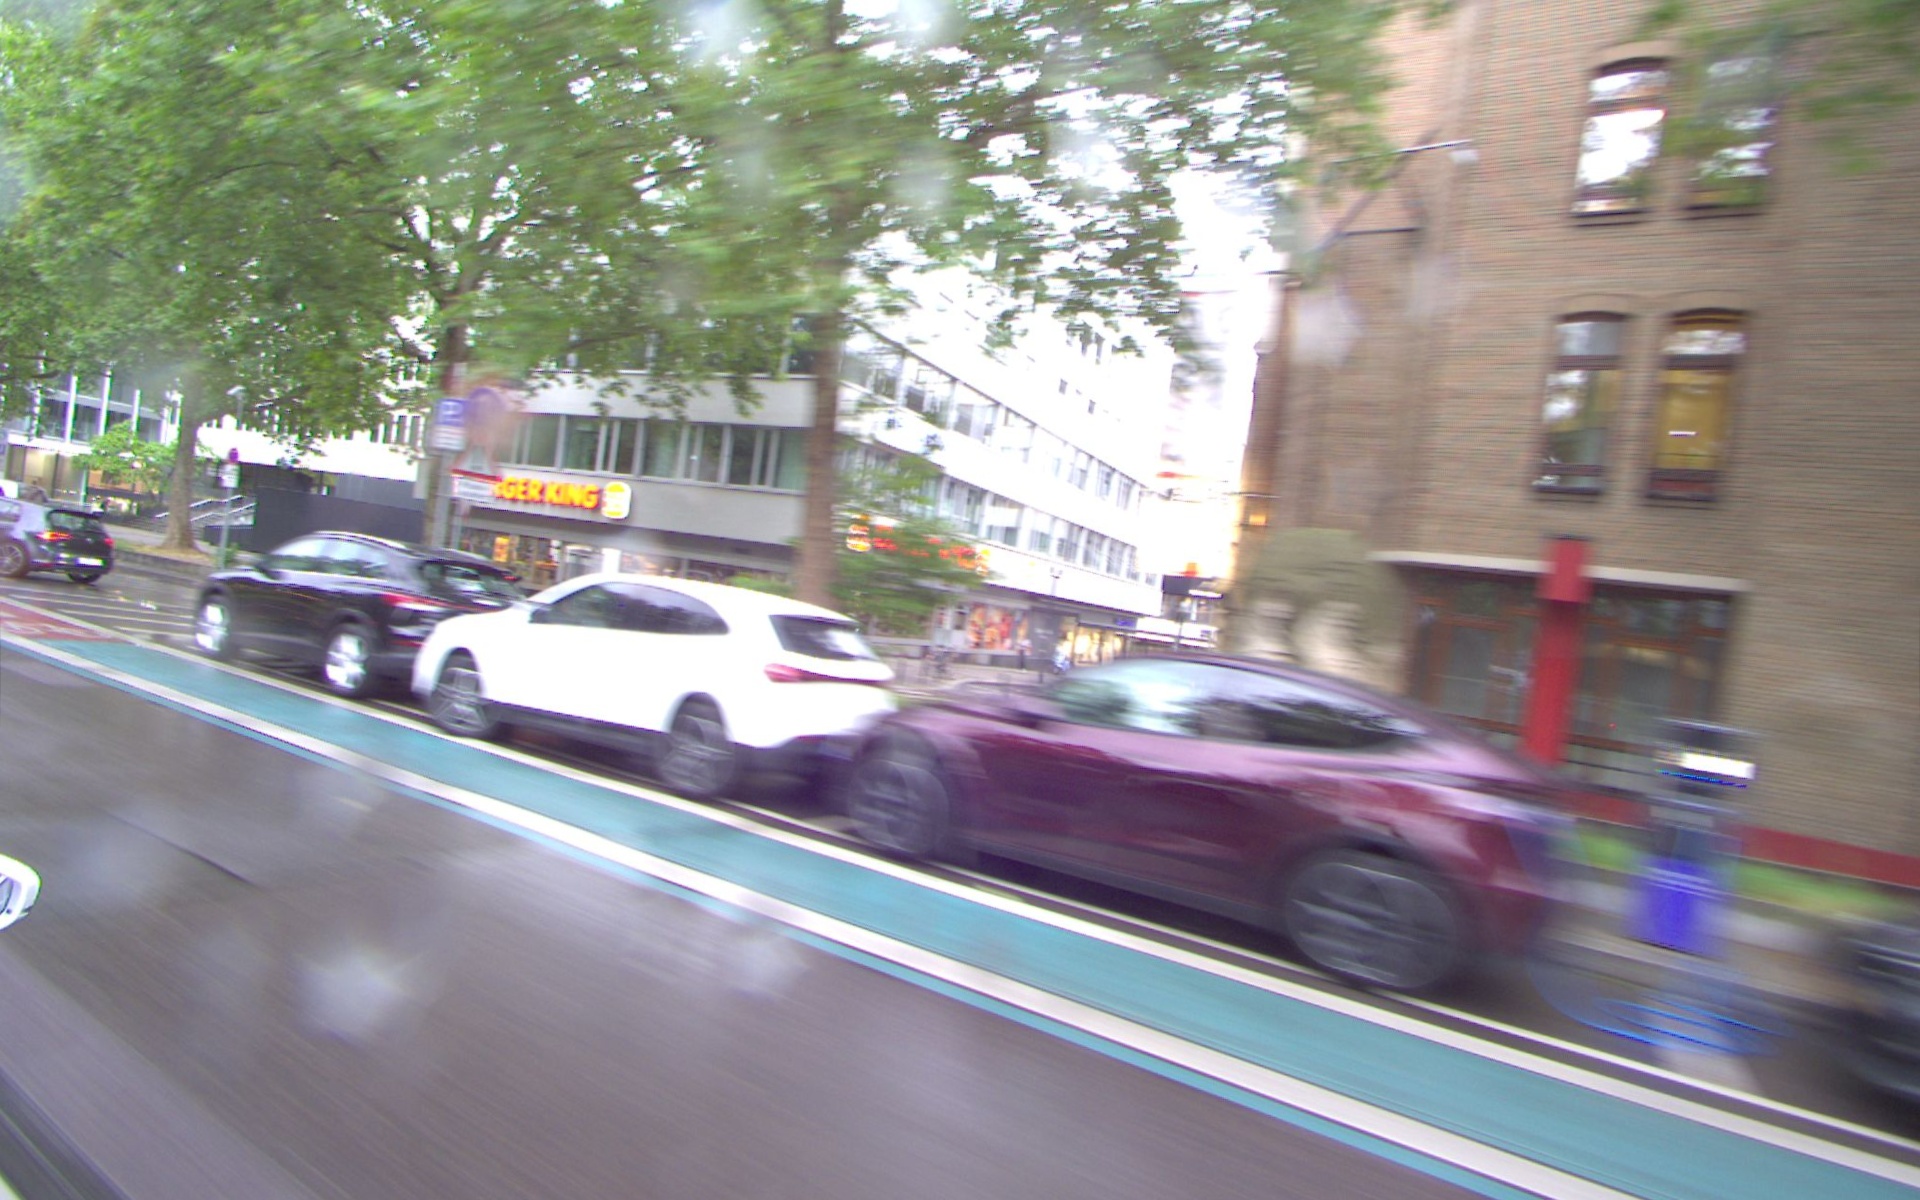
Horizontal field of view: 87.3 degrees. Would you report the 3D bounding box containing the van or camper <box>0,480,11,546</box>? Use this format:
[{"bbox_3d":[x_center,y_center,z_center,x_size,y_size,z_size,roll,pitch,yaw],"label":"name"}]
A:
[{"bbox_3d":[-32.078,-3.096,29.904,5.024,2.042,1.987,9,-2,-23],"label":"van or camper"}]

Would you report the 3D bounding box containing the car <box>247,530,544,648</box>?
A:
[{"bbox_3d":[-10.653,-0.143,19.311,4.433,1.459,1.869,8,-5,-8],"label":"car"}]

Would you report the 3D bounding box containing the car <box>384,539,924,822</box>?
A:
[{"bbox_3d":[-2.711,0.577,8.749,4.333,1.603,1.757,7,-1,27],"label":"car"}]

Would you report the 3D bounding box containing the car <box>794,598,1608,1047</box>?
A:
[{"bbox_3d":[1.402,1.125,6.617,4.481,1.607,1.999,7,-1,28],"label":"car"}]

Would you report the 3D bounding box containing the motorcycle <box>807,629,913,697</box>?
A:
[{"bbox_3d":[-2.160,1.361,21.781,1.983,1.156,0.869,8,-1,13],"label":"motorcycle"}]

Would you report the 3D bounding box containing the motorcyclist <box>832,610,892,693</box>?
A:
[{"bbox_3d":[-2.109,1.114,21.774,0.855,1.664,0.850,8,-1,13],"label":"motorcyclist"}]

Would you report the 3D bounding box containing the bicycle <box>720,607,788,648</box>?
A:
[{"bbox_3d":[-6.314,0.835,30.802,2.040,0.907,0.583,10,2,29],"label":"bicycle"}]

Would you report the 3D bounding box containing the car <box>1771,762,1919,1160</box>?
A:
[{"bbox_3d":[6.007,1.746,3.580,4.508,1.449,1.746,7,-2,31],"label":"car"}]

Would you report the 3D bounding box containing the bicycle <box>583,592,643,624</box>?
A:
[{"bbox_3d":[-11.696,0.279,33.910,1.878,0.829,0.643,7,0,23],"label":"bicycle"}]

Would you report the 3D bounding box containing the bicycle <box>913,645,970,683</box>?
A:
[{"bbox_3d":[-0.540,1.940,30.369,0.615,0.948,1.969,7,-2,35],"label":"bicycle"}]

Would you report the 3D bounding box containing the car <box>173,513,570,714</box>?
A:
[{"bbox_3d":[-6.691,0.116,11.330,4.349,1.621,1.797,7,-2,30],"label":"car"}]

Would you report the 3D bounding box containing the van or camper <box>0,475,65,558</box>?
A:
[{"bbox_3d":[-27.020,-2.517,26.244,4.881,2.014,1.994,9,-2,-21],"label":"van or camper"}]

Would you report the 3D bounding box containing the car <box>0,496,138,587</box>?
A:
[{"bbox_3d":[-18.155,-1.243,18.813,3.928,1.430,1.770,8,0,-2],"label":"car"}]
